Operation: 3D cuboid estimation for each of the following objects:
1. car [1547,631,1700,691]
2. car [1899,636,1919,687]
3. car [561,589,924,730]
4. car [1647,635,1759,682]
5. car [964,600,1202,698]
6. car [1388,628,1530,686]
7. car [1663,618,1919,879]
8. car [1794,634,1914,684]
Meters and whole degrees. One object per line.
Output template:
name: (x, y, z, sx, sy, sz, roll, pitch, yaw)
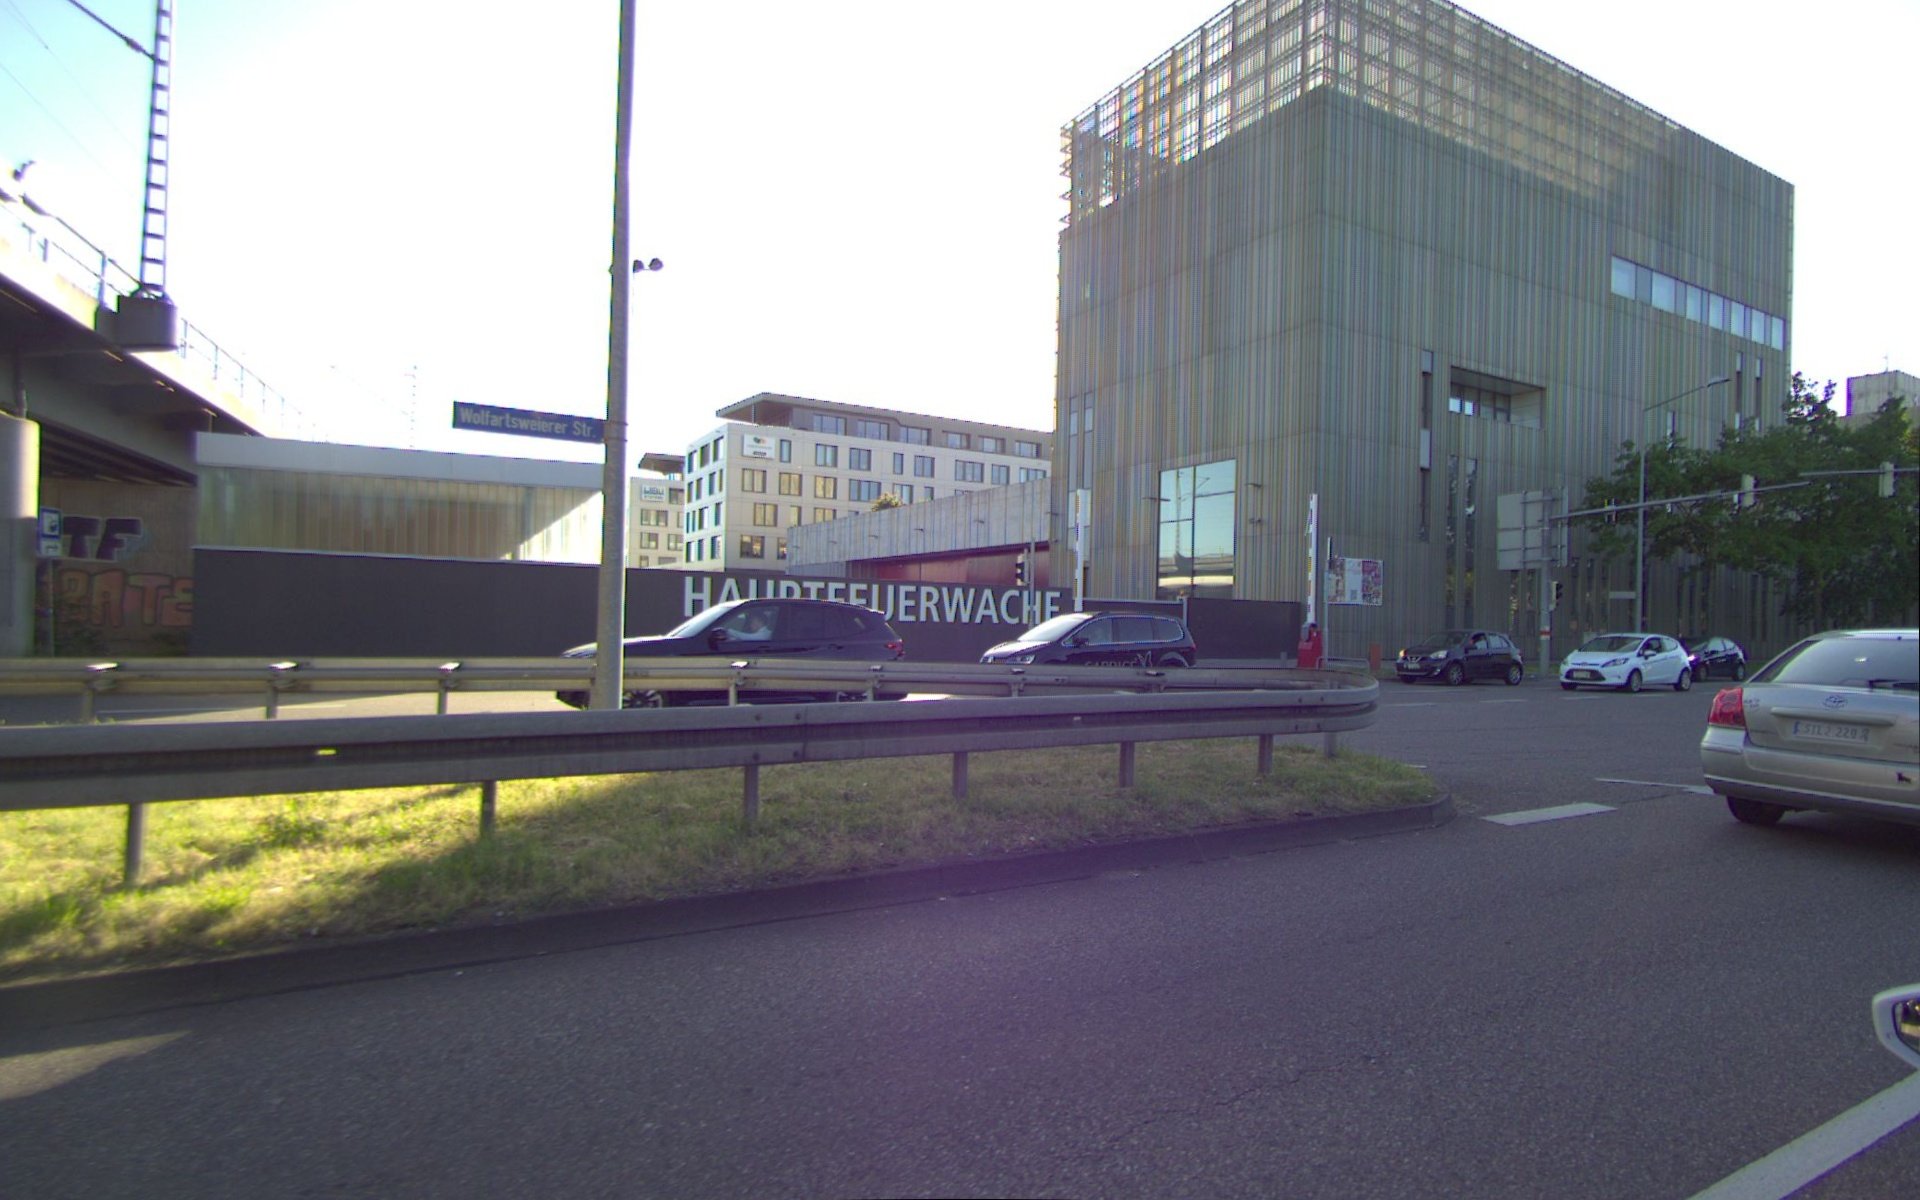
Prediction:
car: (16.930, 1.568, 25.603, 3.930, 1.423, 1.639, 2, -3, -30)
car: (29.535, 1.833, 29.622, 4.030, 1.462, 1.628, 2, -3, -31)
car: (-2.885, 0.810, 13.624, 4.476, 1.646, 1.816, 2, -3, -30)
car: (24.393, 1.932, 32.988, 3.448, 1.453, 1.640, 2, -3, -28)
car: (2.505, 1.006, 20.097, 4.574, 1.760, 1.817, 2, -3, -29)
car: (13.912, 1.599, 27.963, 3.930, 1.501, 1.639, 2, -3, -30)
car: (7.217, 0.955, 7.355, 4.267, 1.499, 1.725, 2, -1, -30)
car: (29.249, 1.936, 32.829, 4.346, 1.565, 1.639, 2, -3, -30)
